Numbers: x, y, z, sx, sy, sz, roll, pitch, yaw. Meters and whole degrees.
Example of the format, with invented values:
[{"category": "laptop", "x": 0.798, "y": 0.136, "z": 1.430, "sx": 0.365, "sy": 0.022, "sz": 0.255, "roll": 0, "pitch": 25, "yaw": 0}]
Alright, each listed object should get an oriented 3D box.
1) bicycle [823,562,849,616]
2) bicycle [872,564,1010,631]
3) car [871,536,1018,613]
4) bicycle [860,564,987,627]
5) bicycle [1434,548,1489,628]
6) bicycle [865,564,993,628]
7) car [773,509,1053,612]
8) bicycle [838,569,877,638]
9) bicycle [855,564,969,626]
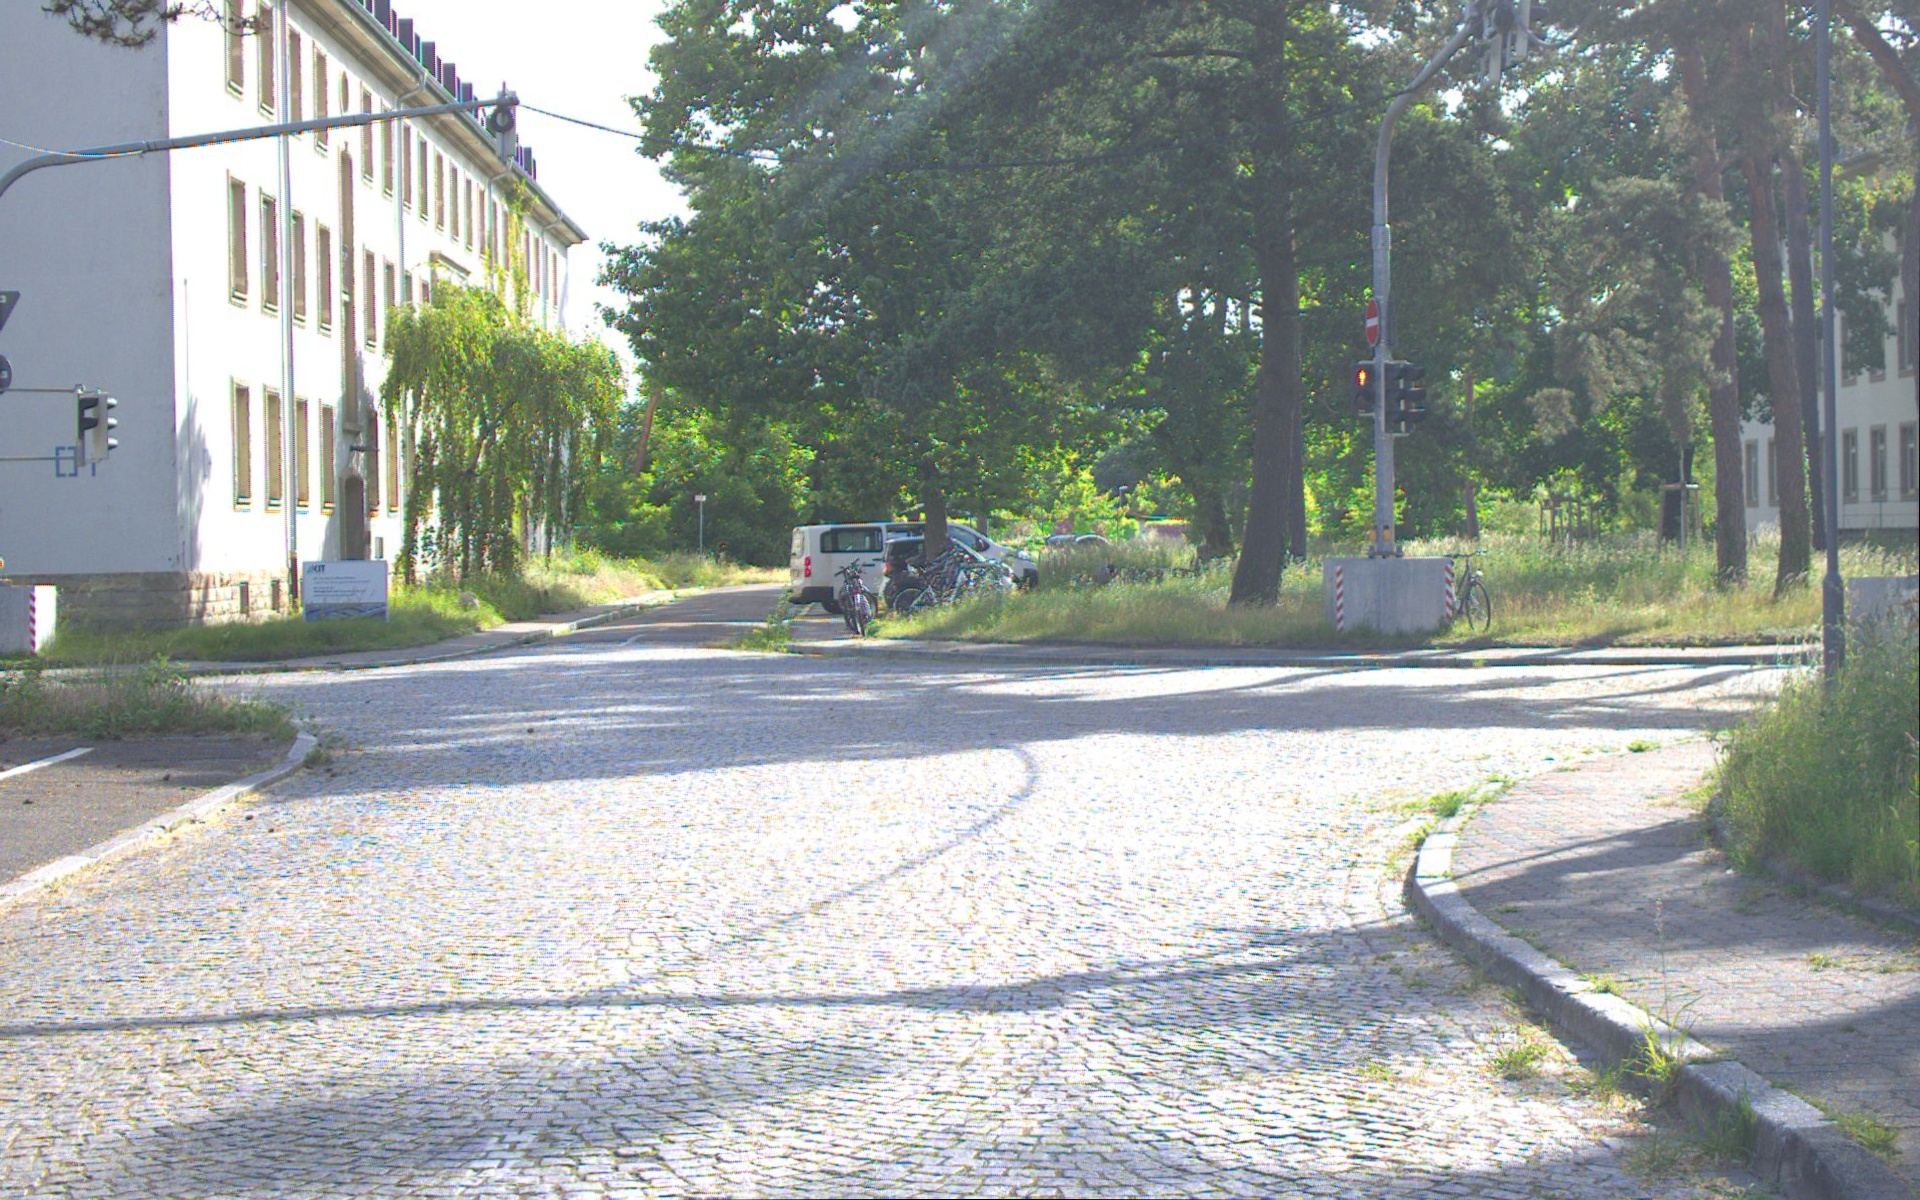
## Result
[{"category": "bicycle", "x": -2.313, "y": -0.209, "z": 64.320, "sx": 0.417, "sy": 1.007, "sz": 1.483, "roll": 1, "pitch": 0, "yaw": -1}, {"category": "bicycle", "x": -0.311, "y": -0.047, "z": 54.690, "sx": 2.108, "sy": 1.007, "sz": 0.621, "roll": 1, "pitch": 0, "yaw": -8}, {"category": "car", "x": -0.323, "y": -0.508, "z": 69.161, "sx": 2.781, "sy": 1.462, "sz": 1.671, "roll": 1, "pitch": 0, "yaw": -5}, {"category": "bicycle", "x": -0.611, "y": -0.075, "z": 57.282, "sx": 2.027, "sy": 1.007, "sz": 0.627, "roll": 1, "pitch": 0, "yaw": -8}, {"category": "bicycle", "x": 6.219, "y": -0.154, "z": 42.669, "sx": 0.300, "sy": 0.957, "sz": 1.586, "roll": 1, "pitch": 0, "yaw": -5}, {"category": "bicycle", "x": -0.517, "y": -0.065, "z": 56.400, "sx": 2.004, "sy": 1.007, "sz": 0.632, "roll": 1, "pitch": 0, "yaw": -8}, {"category": "car", "x": -0.992, "y": -0.829, "z": 72.721, "sx": 5.520, "sy": 2.007, "sz": 2.001, "roll": 1, "pitch": 0, "yaw": -19}, {"category": "bicycle", "x": -1.529, "y": 0.043, "z": 51.070, "sx": 0.467, "sy": 1.007, "sz": 1.586, "roll": 1, "pitch": 0, "yaw": -5}, {"category": "bicycle", "x": -0.808, "y": -0.086, "z": 58.153, "sx": 1.837, "sy": 1.007, "sz": 0.636, "roll": 1, "pitch": 0, "yaw": -8}]
